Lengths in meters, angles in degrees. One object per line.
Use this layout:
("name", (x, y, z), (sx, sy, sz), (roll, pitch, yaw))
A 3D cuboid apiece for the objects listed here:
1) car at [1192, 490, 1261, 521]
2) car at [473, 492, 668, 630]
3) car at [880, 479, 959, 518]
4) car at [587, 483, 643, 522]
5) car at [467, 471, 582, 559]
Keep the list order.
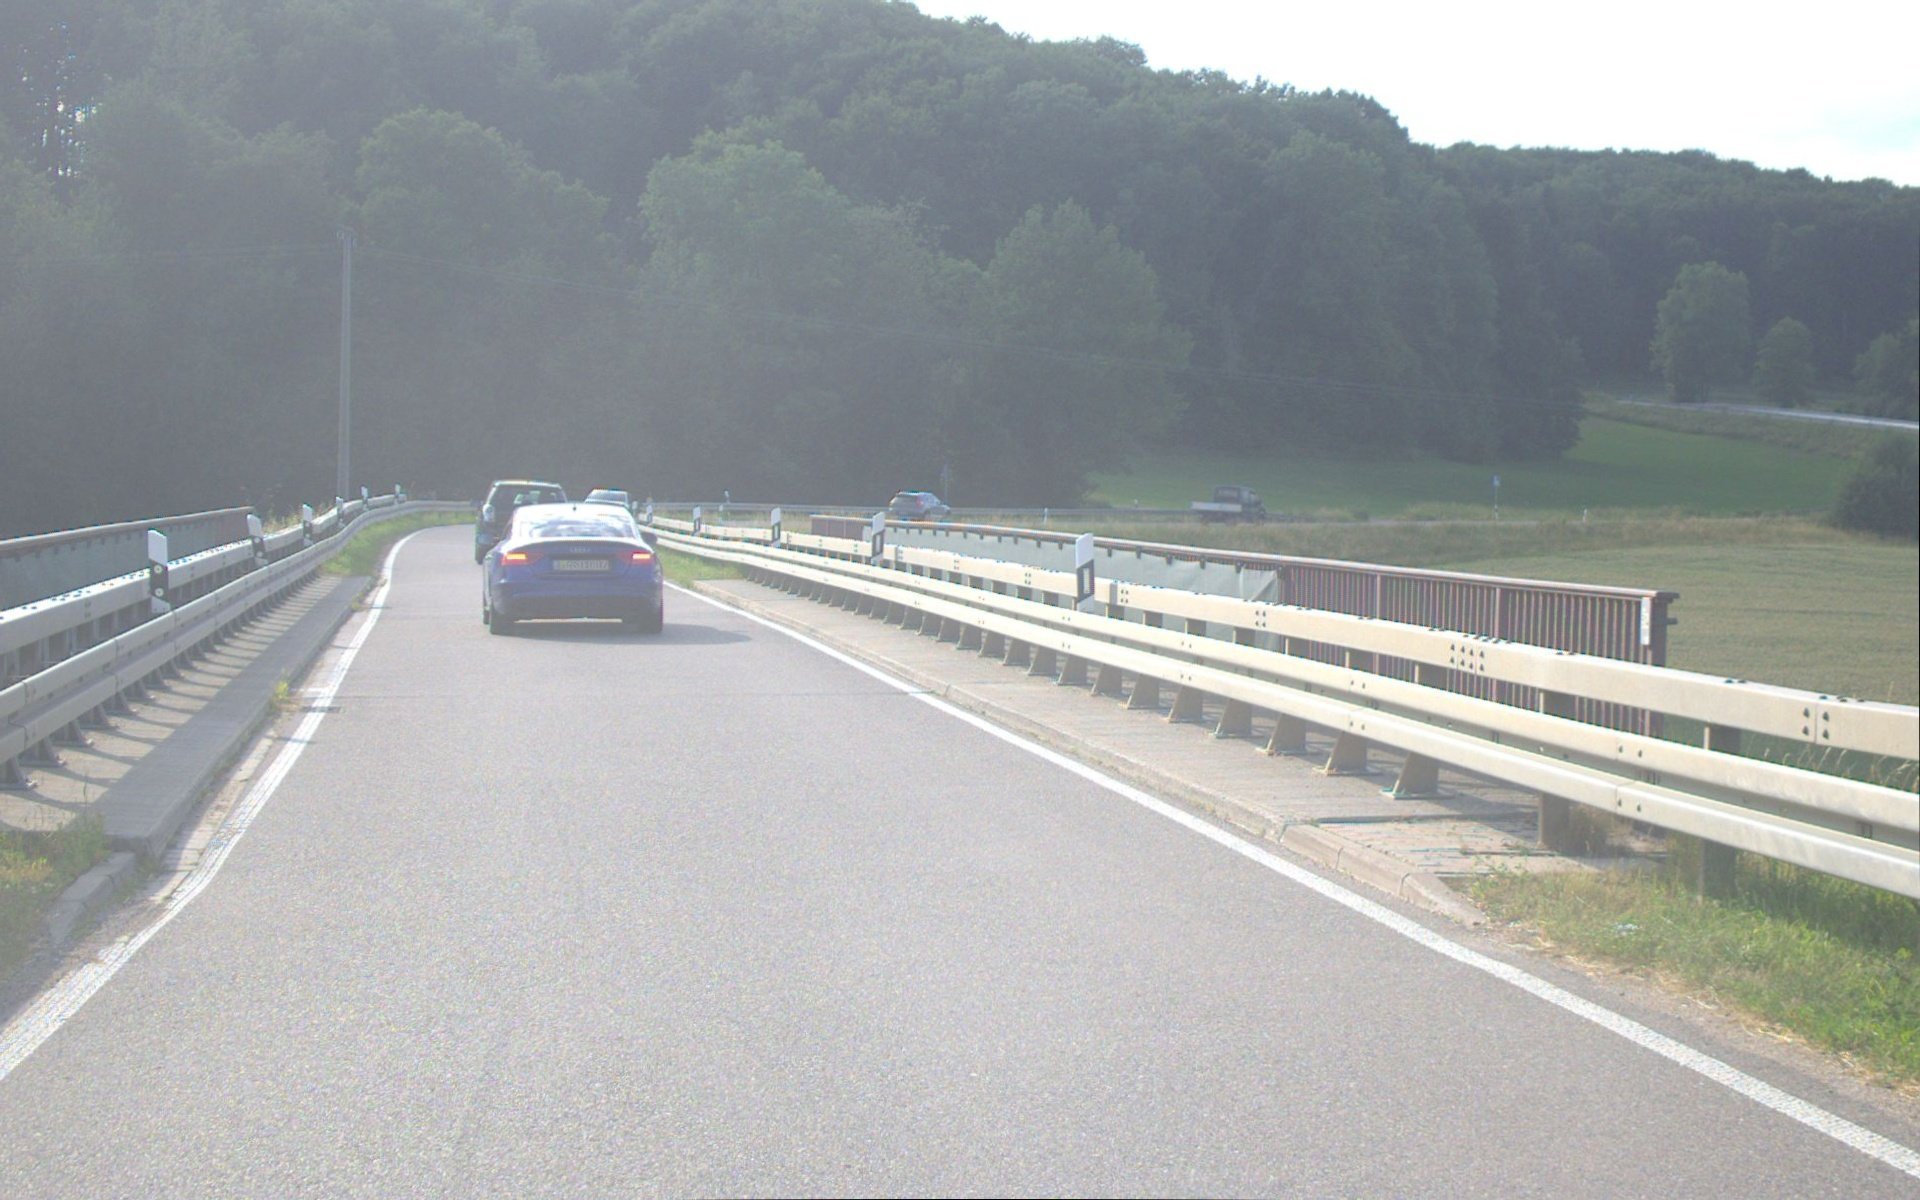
("car", (15.304, -5.443, 197.534), (1.998, 1.765, 3.991), (2, 3, 40))
("car", (-4.298, -0.468, 37.451), (1.818, 1.334, 4.352), (1, 2, -10))
("car", (-1.975, -4.930, 167.367), (1.997, 1.673, 4.171), (4, 1, 28))
("car", (-11.989, -3.380, 119.690), (1.471, 1.223, 3.299), (2, 0, 2))
("car", (-8.378, -1.650, 65.921), (1.861, 1.563, 4.002), (2, 2, -11))
